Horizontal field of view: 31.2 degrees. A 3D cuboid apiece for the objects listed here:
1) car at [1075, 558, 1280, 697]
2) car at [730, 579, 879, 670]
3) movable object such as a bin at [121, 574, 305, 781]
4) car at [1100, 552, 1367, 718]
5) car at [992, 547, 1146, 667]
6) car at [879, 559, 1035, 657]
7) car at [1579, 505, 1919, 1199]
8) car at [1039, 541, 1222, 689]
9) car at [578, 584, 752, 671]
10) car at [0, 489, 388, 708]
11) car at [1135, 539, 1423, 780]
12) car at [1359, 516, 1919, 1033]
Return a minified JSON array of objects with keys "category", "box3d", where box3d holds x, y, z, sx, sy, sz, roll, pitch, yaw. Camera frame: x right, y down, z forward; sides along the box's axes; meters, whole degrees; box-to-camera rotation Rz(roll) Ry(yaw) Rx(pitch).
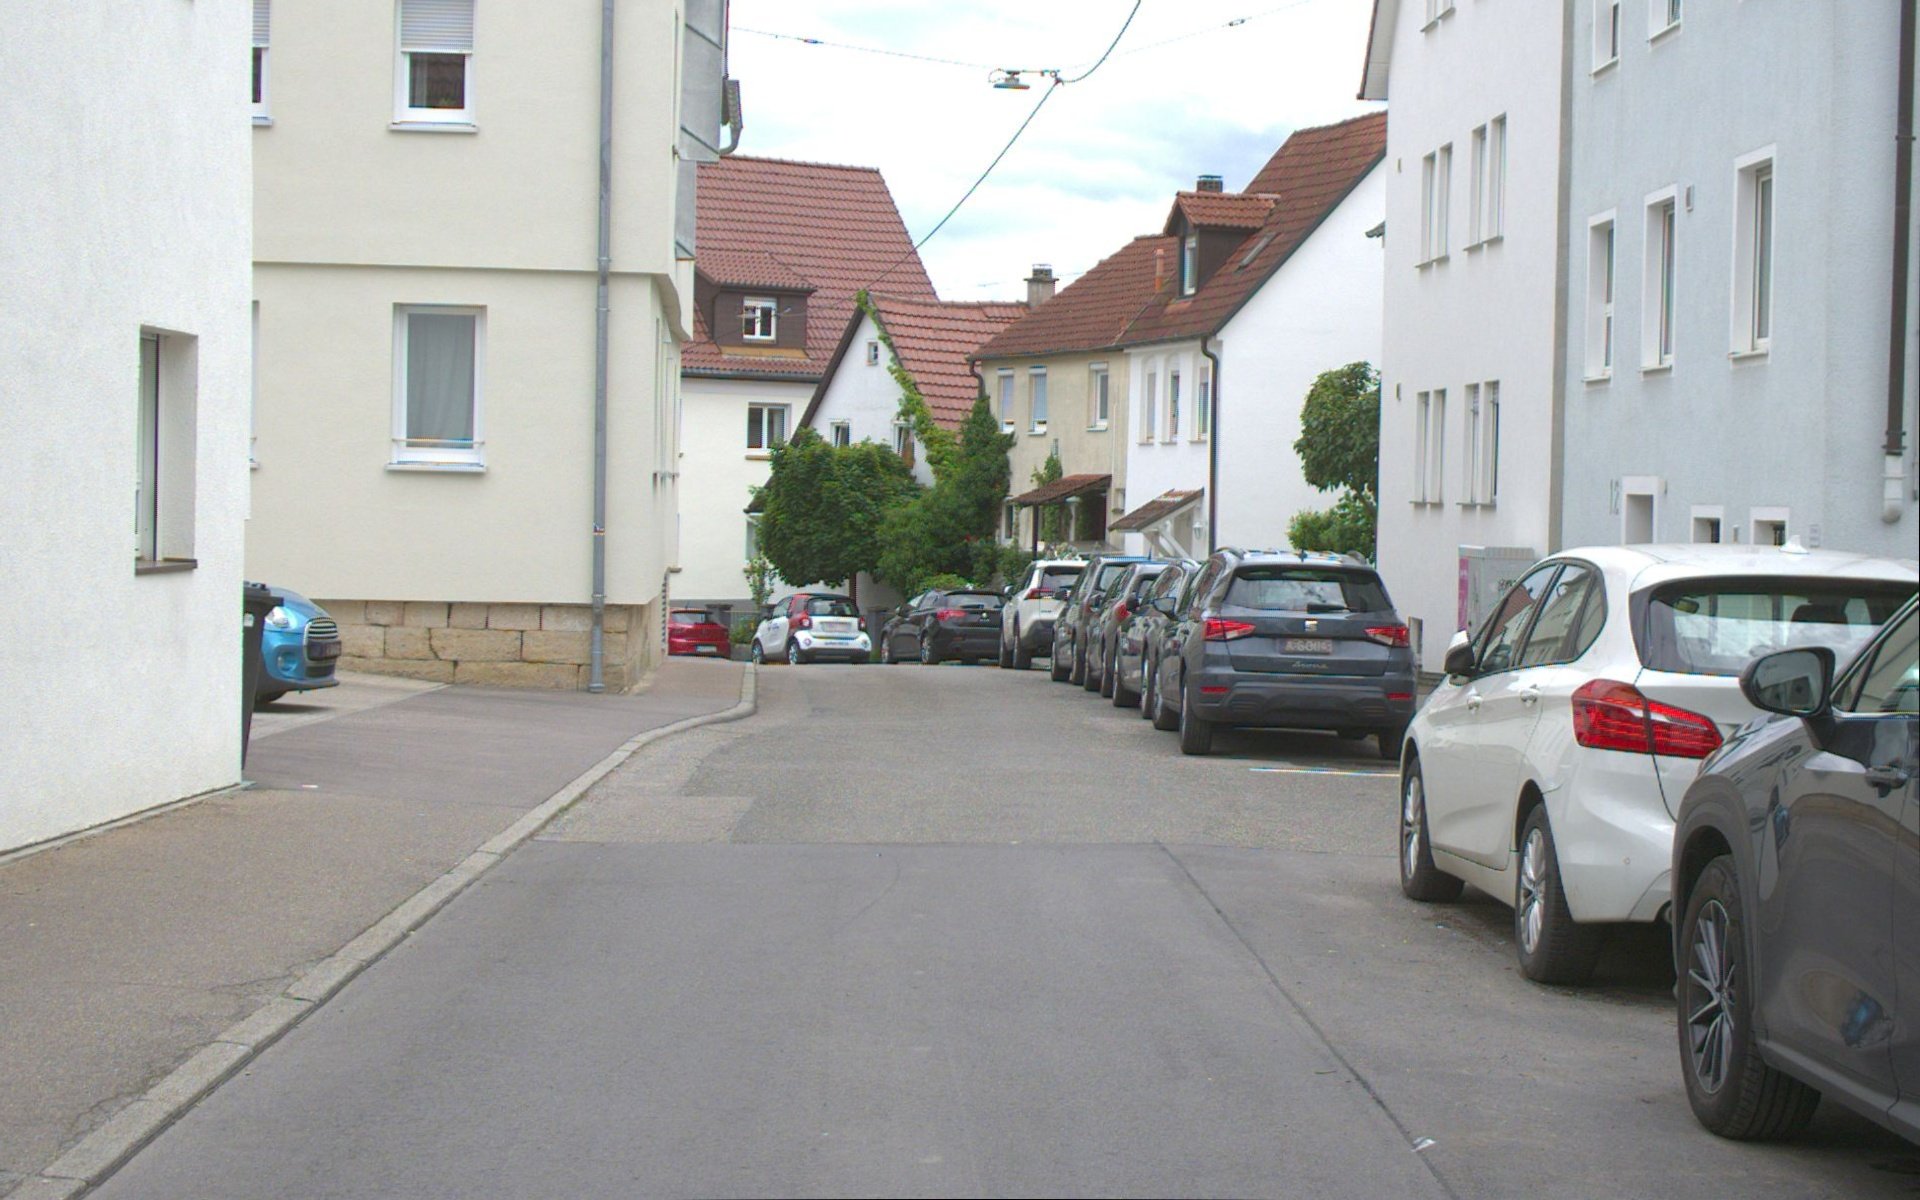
[{"category":"car","box3d":[2.258,0.286,36.627,1.797,1.347,4.075,1,0,-1]},{"category":"car","box3d":[-3.271,0.499,71.636,1.962,1.707,4.001,1,1,-20]},{"category":"movable object such as a bin","box3d":[-4.103,0.418,18.908,0.615,1.072,0.752,4,1,21]},{"category":"car","box3d":[2.410,0.269,31.406,1.918,1.405,4.656,0,1,-2]},{"category":"car","box3d":[1.599,0.104,51.995,1.873,1.707,4.148,1,0,-4]},{"category":"car","box3d":[-0.088,0.179,62.721,1.993,1.707,4.001,0,-1,-13]},{"category":"car","box3d":[2.828,0.633,7.623,1.863,1.627,4.902,1,1,-2]},{"category":"car","box3d":[2.028,0.167,41.963,1.736,1.605,4.000,4,0,-3]},{"category":"car","box3d":[-6.634,0.634,76.989,1.994,1.678,3.999,-5,1,-36]},{"category":"car","box3d":[-6.385,-0.051,25.606,3.731,1.407,2.120,4,0,4]},{"category":"car","box3d":[2.381,0.385,26.679,1.753,1.622,4.535,3,1,0]},{"category":"car","box3d":[2.868,0.523,13.509,1.993,1.610,4.879,3,1,0]}]
